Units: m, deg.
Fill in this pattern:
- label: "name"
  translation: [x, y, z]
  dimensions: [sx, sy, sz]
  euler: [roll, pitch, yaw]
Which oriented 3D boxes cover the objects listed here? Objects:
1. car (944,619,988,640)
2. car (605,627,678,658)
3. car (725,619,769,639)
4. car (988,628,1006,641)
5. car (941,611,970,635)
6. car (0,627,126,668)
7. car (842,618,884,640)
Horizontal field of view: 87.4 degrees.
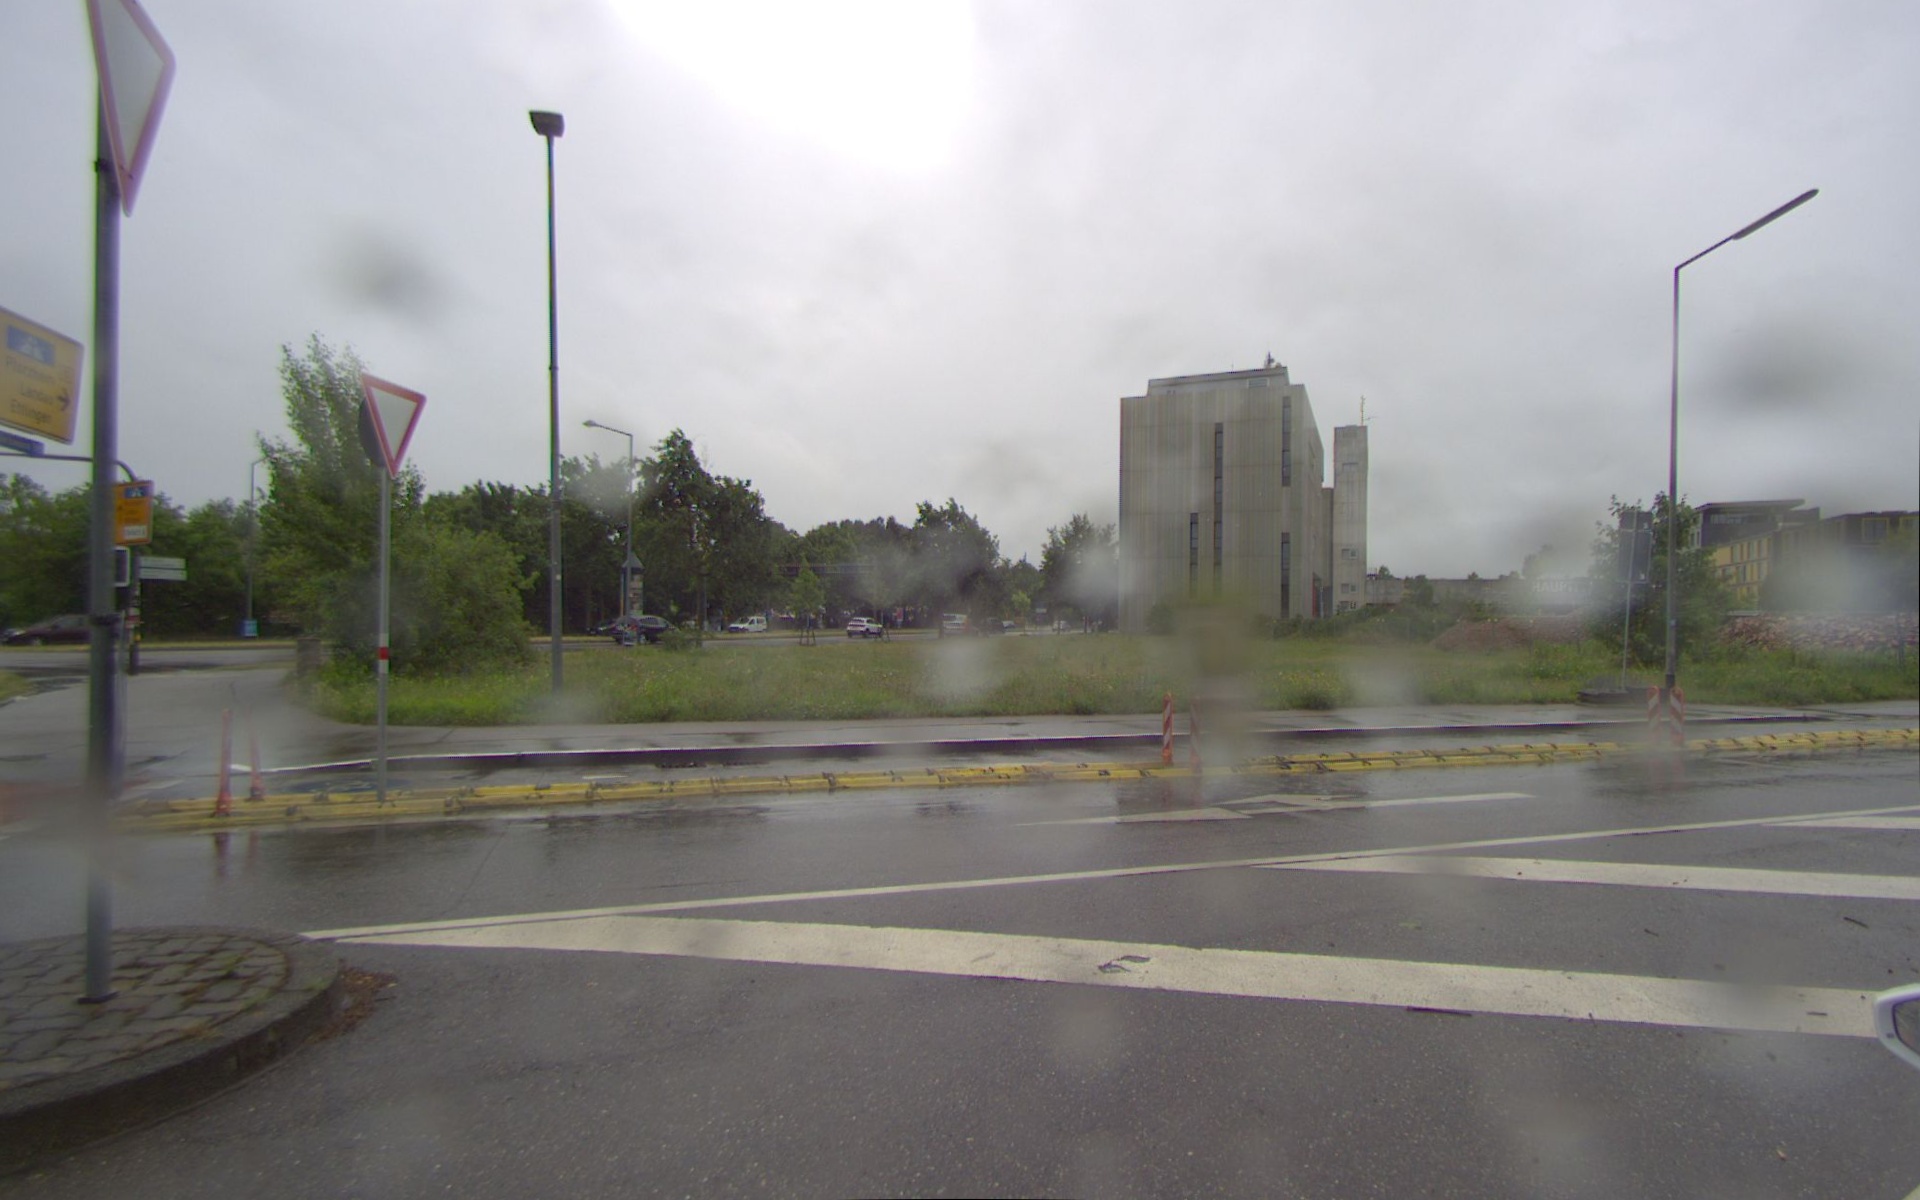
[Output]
- label: "car"
  translation: [0.554, 2.592, 88.580]
  dimensions: [1.757, 1.834, 4.828]
  euler: [0, -1, 30]
- label: "car"
  translation: [-18.465, 2.481, 58.379]
  dimensions: [1.755, 1.669, 3.998]
  euler: [2, -2, 24]
- label: "car"
  translation: [-19.383, 2.681, 91.517]
  dimensions: [1.754, 1.669, 4.341]
  euler: [2, -2, 23]
- label: "car"
  translation: [5.349, 4.926, 143.958]
  dimensions: [1.753, 1.703, 4.003]
  euler: [2, -2, 13]
- label: "car"
  translation: [-0.396, 2.230, 96.950]
  dimensions: [1.753, 2.062, 4.003]
  euler: [2, -2, 15]
- label: "car"
  translation: [-39.213, 2.089, 43.779]
  dimensions: [1.758, 1.669, 3.991]
  euler: [2, -2, 32]
- label: "car"
  translation: [-7.999, 2.393, 83.445]
  dimensions: [1.654, 1.669, 3.945]
  euler: [2, -2, 25]
